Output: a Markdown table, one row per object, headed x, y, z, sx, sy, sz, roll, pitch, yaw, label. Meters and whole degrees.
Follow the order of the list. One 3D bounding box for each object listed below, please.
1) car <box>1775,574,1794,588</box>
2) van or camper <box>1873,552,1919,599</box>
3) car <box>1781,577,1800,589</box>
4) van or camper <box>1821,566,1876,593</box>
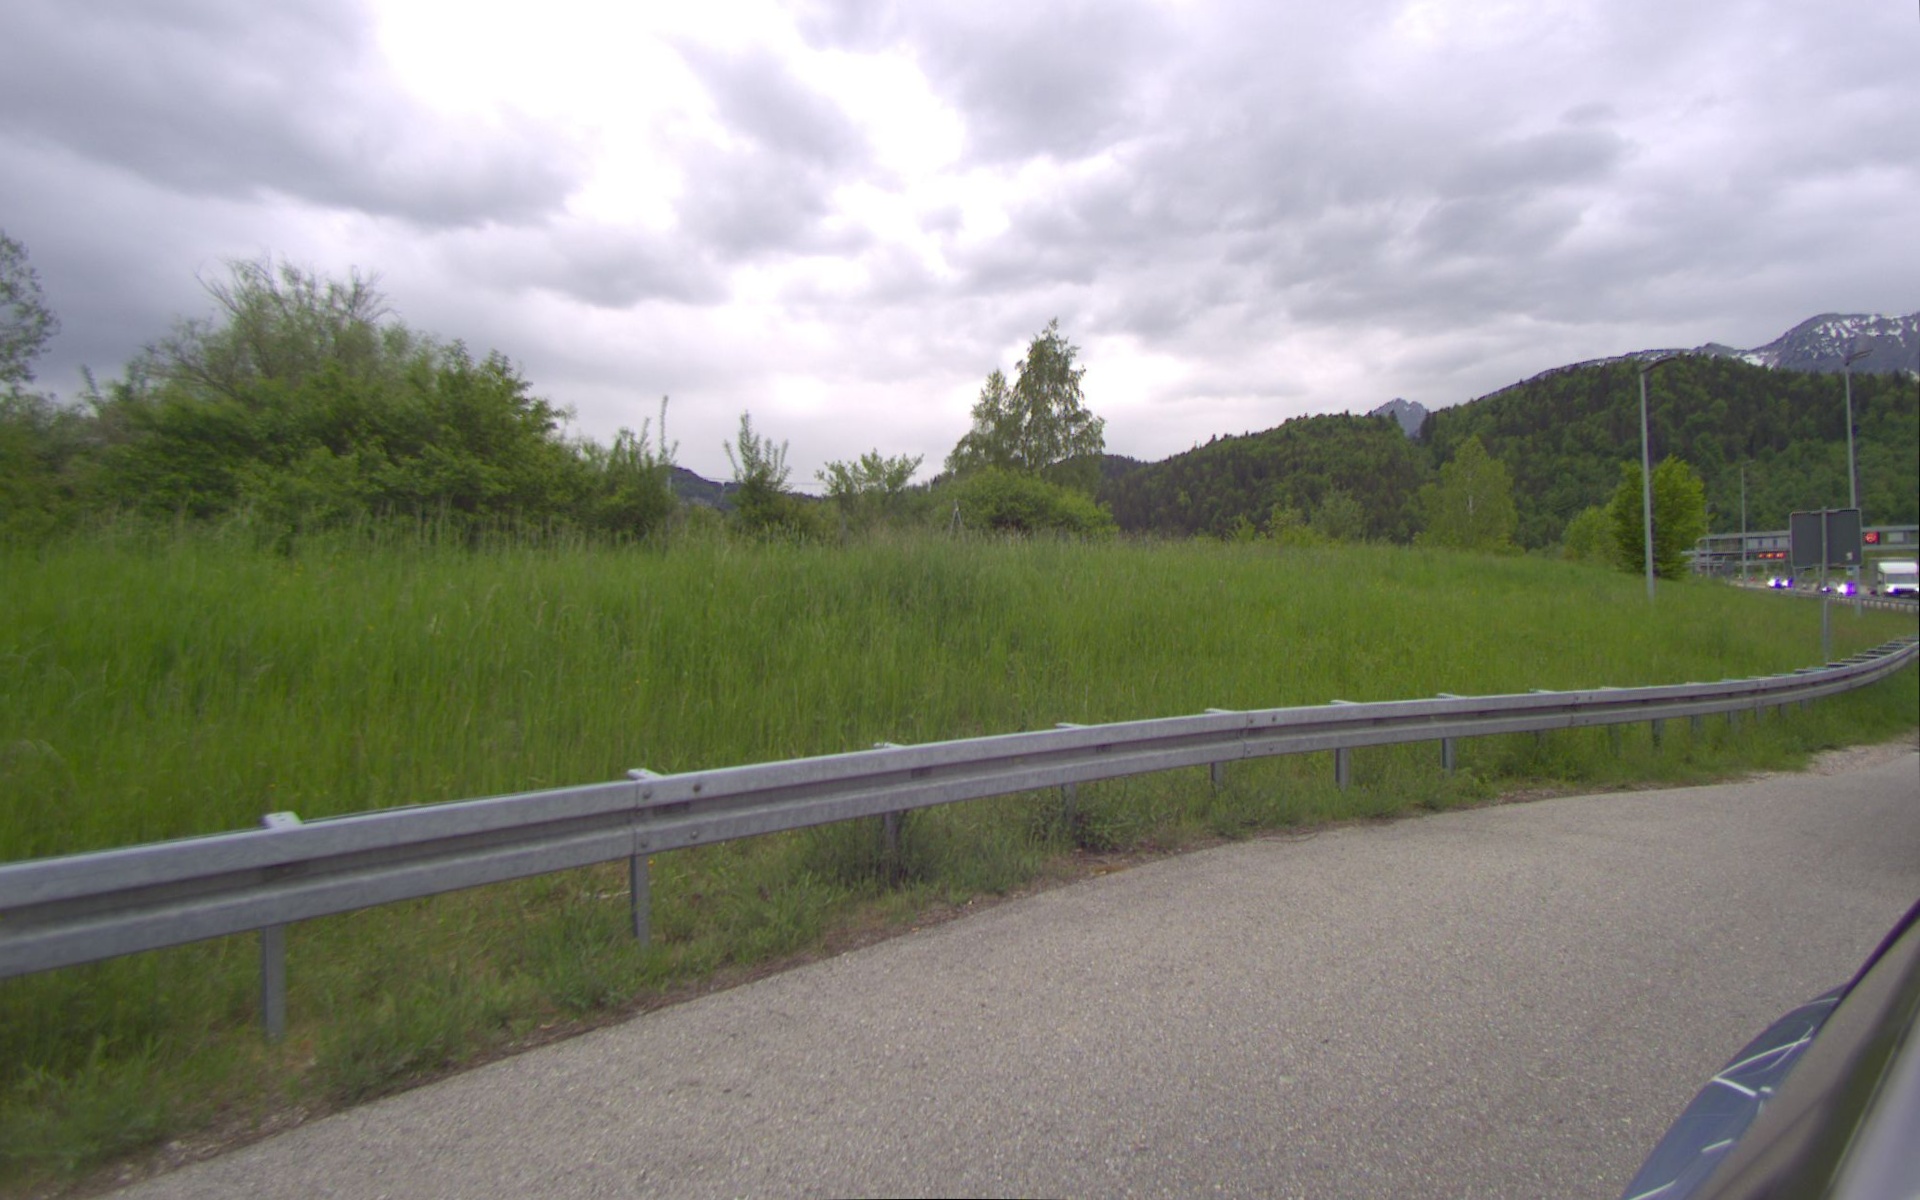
| x | y | z | sx | sy | sz | roll | pitch | yaw | label |
| --- | --- | --- | --- | --- | --- | --- | --- | --- | --- |
| 117.273 | -2.696 | 143.985 | 1.858 | 1.895 | 3.946 | 1 | 2 | 37 | car |
| 71.720 | -1.876 | 76.790 | 2.566 | 3.434 | 7.266 | 1 | 1 | 34 | van or camper |
| 117.145 | -2.446 | 142.768 | 1.709 | 1.659 | 4.296 | 1 | 2 | 34 | car |
| 90.869 | -2.100 | 103.632 | 3.322 | 2.677 | 8.098 | 1 | 1 | 35 | van or camper |
